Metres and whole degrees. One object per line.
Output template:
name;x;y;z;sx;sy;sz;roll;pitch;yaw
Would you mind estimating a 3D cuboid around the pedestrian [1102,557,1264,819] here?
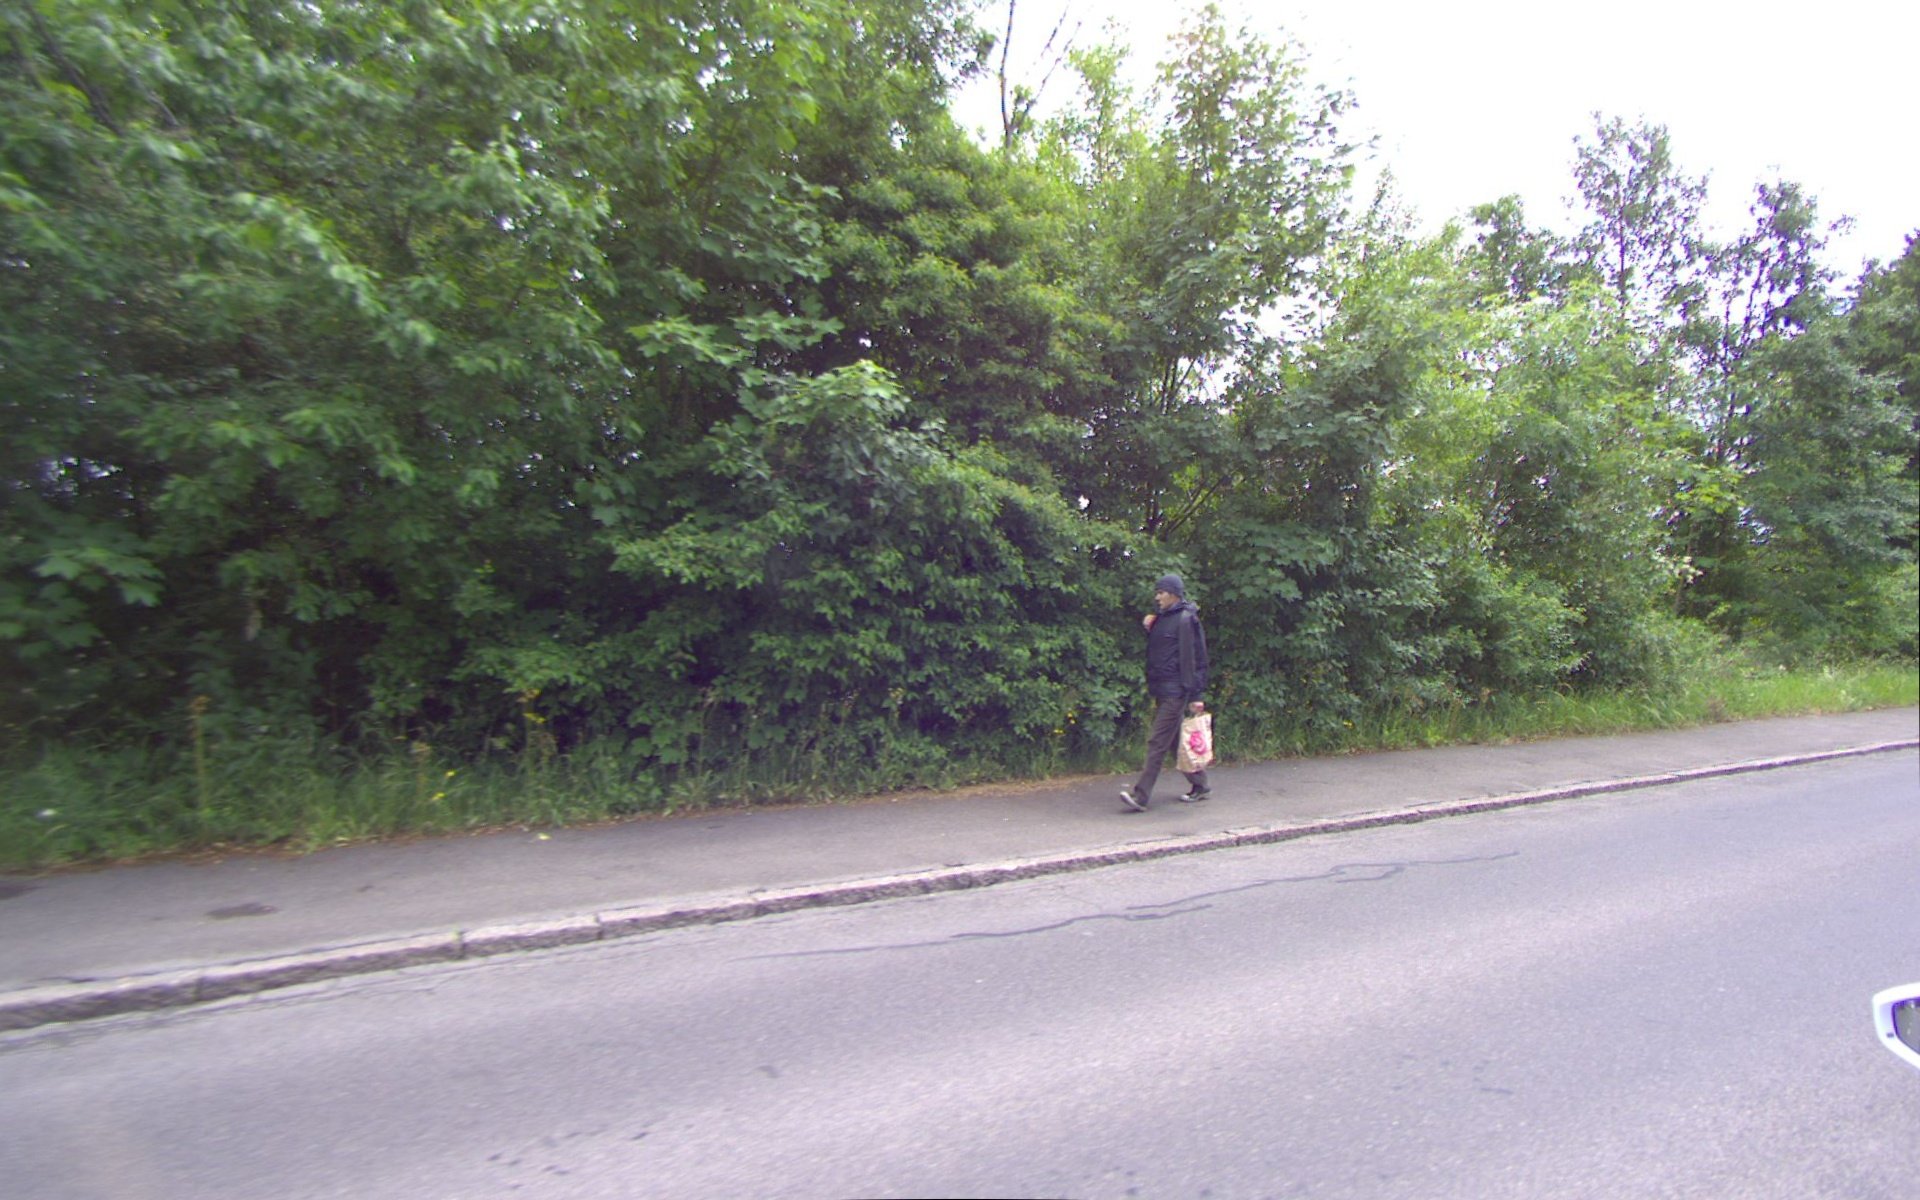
pedestrian;1.641;0.615;7.452;0.781;1.793;0.862;0;-1;-34
